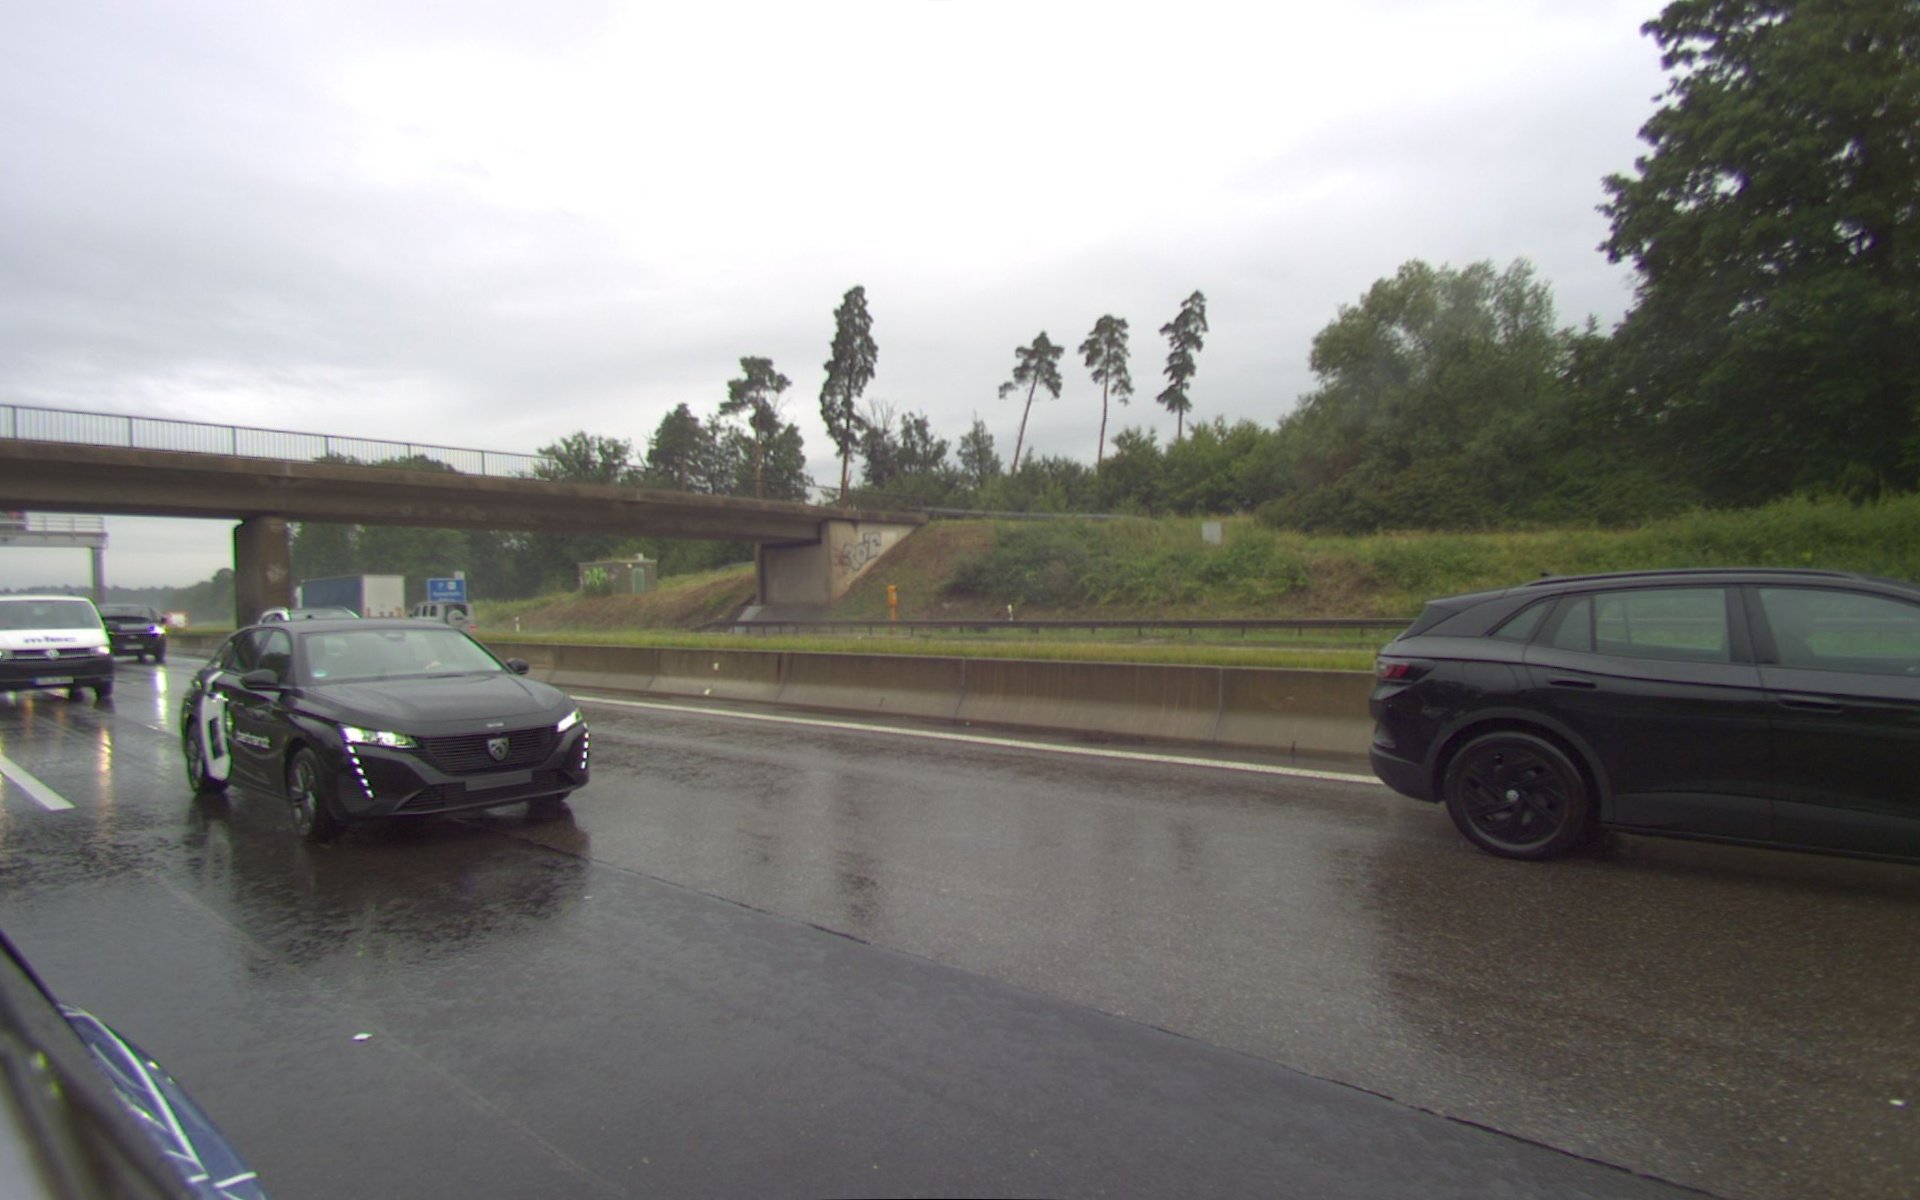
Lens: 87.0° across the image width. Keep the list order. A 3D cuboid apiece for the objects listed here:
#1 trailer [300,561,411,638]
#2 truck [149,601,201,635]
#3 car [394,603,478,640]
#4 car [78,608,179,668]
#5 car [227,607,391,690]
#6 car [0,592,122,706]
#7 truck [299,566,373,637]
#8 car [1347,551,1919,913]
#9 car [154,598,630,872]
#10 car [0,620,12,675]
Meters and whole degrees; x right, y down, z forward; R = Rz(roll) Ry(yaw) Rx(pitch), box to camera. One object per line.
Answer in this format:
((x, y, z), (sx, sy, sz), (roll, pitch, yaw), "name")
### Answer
((-41.826, 0.078, 69.709), (13.349, 4.850, 3.170), (-1, 0, 44), "trailer")
((-73.155, 1.705, 94.228), (7.712, 3.047, 2.726), (-1, 0, 44), "truck")
((-24.139, 0.989, 46.560), (4.464, 1.603, 1.909), (-1, 0, 41), "car")
((-29.261, 1.278, 35.564), (5.241, 1.958, 1.970), (-1, 0, 42), "car")
((-14.144, 0.987, 21.889), (4.464, 1.603, 1.826), (-1, 0, 41), "car")
((-17.519, 0.861, 19.036), (4.765, 1.894, 1.969), (-1, 0, 41), "car")
((-44.896, 0.148, 72.795), (5.621, 4.850, 3.170), (-1, -1, 44), "truck")
((4.634, 0.583, 5.364), (4.464, 1.603, 1.826), (-1, 0, 41), "car")
((-4.580, 0.790, 7.828), (4.464, 1.516, 1.826), (-1, 0, 41), "car")
((-28.379, 1.331, 28.639), (4.464, 1.516, 1.826), (-1, 0, 41), "car")
